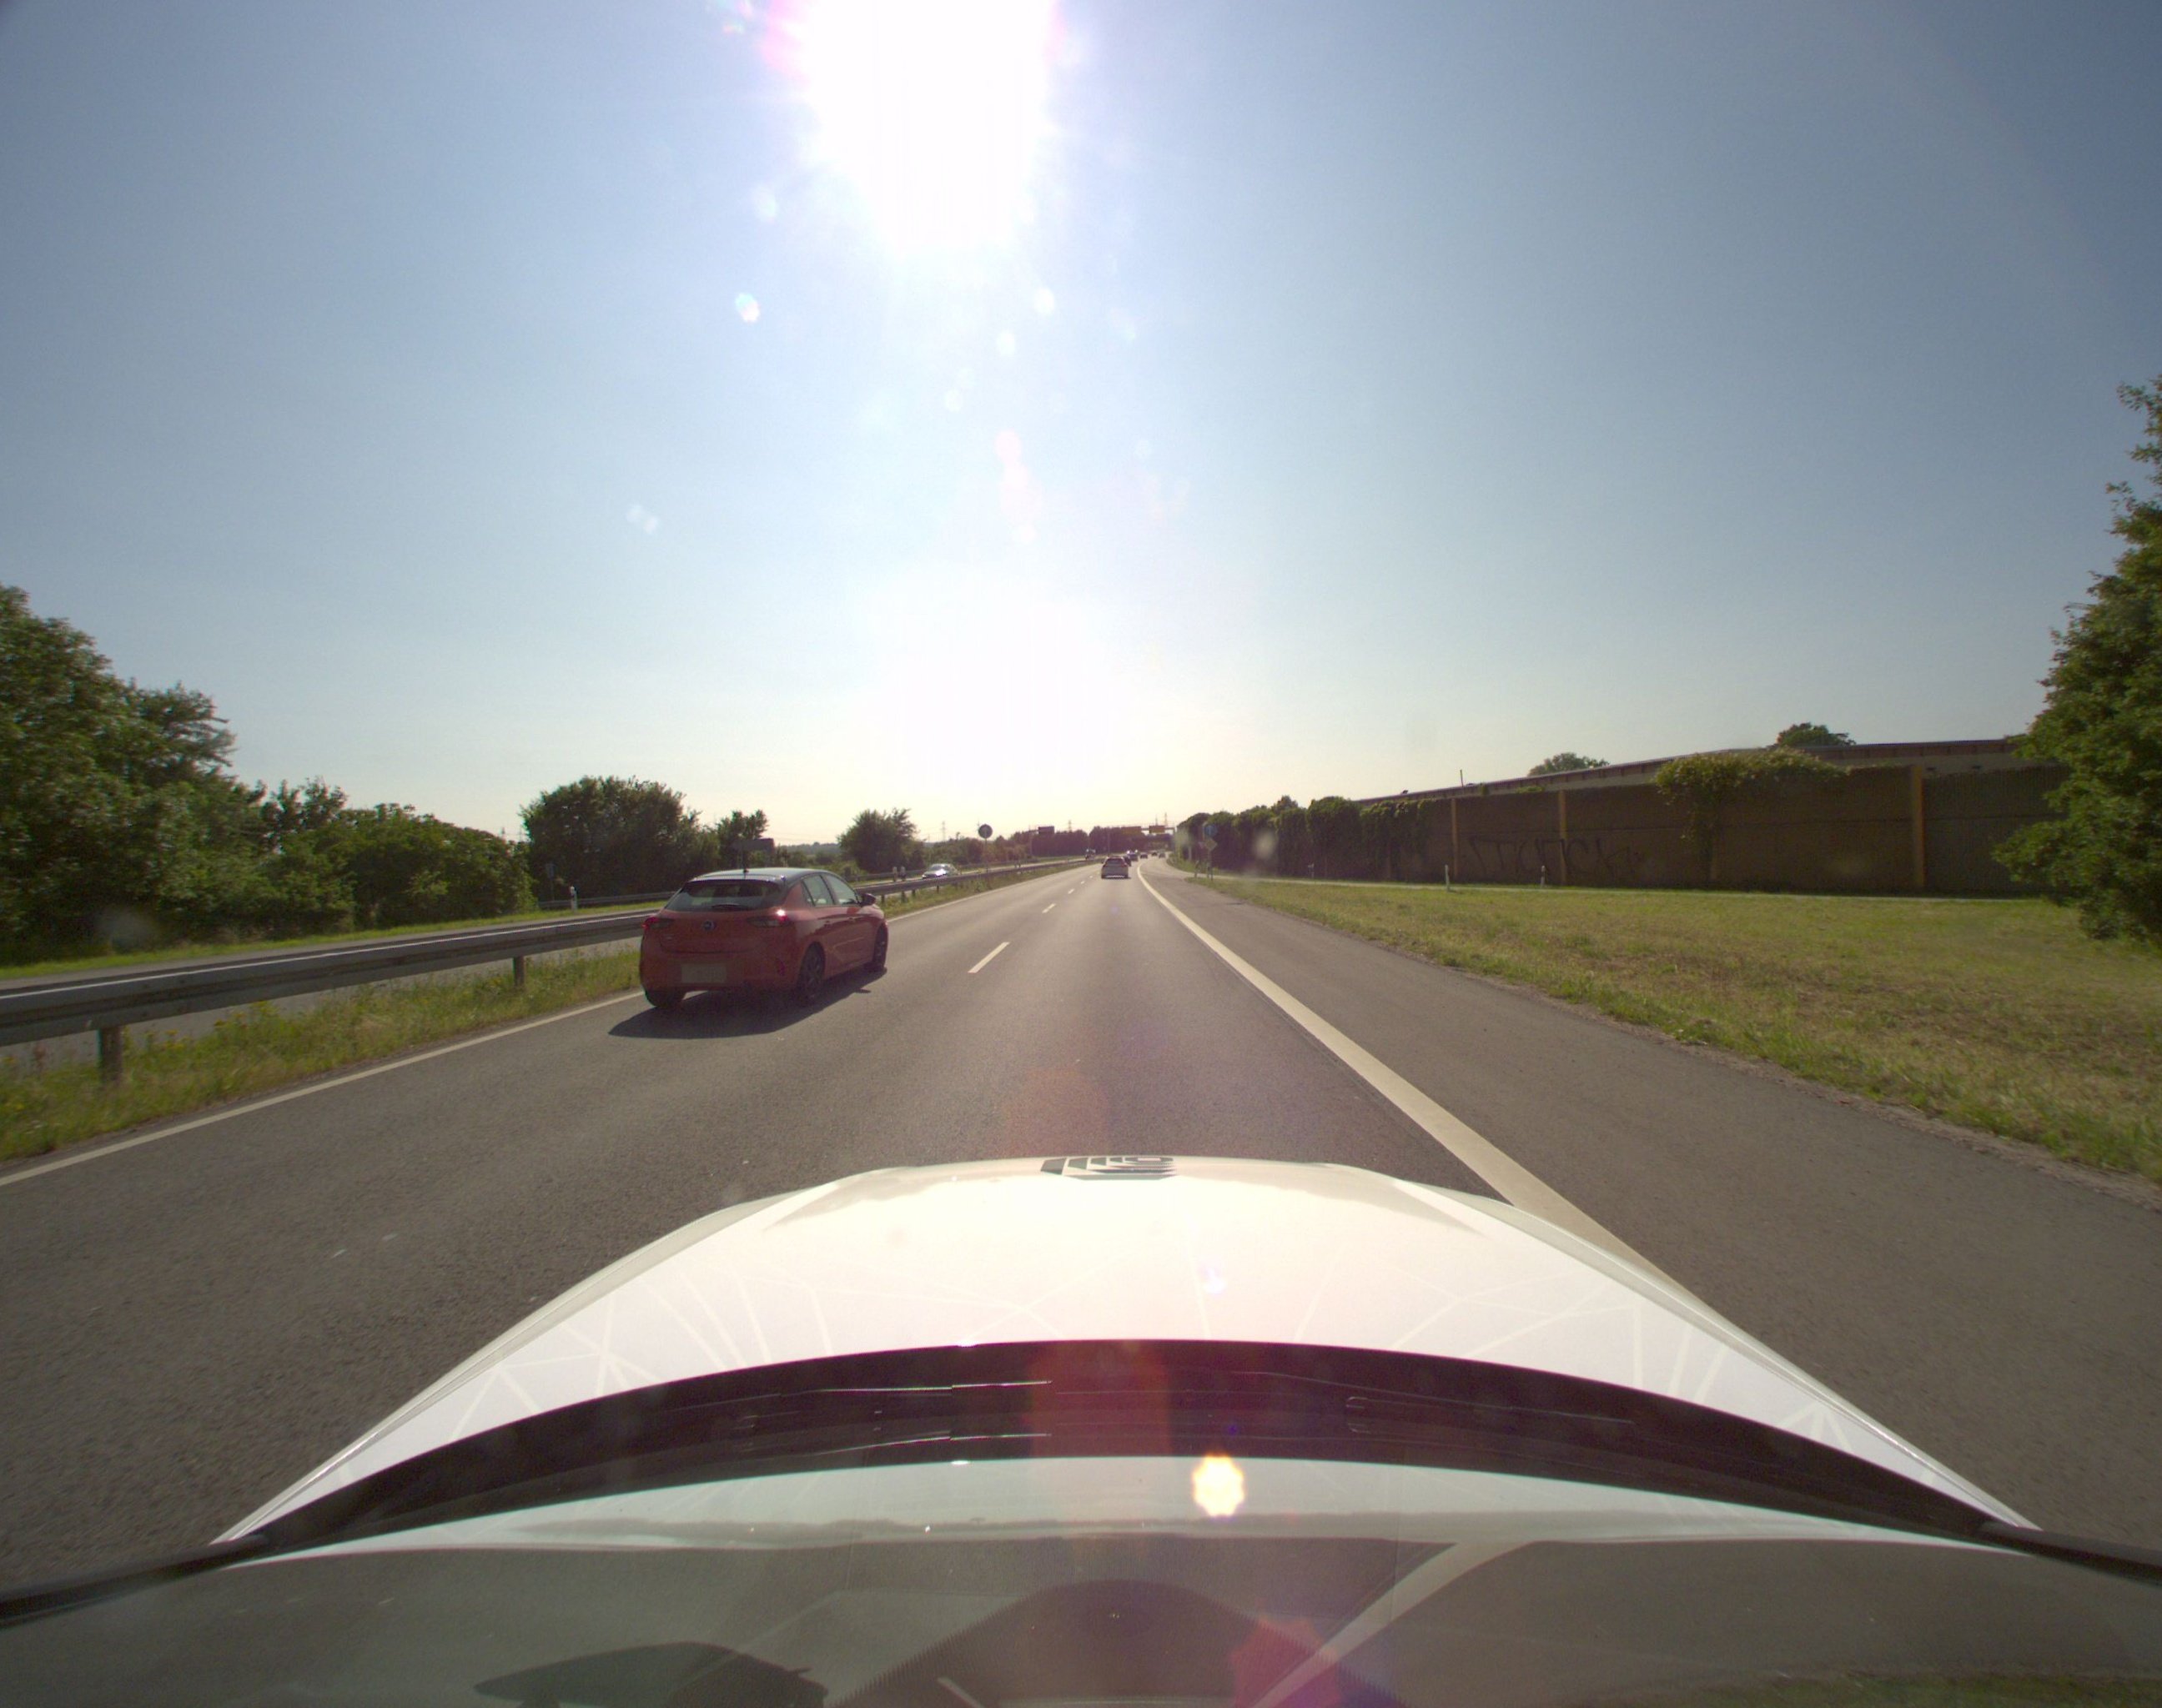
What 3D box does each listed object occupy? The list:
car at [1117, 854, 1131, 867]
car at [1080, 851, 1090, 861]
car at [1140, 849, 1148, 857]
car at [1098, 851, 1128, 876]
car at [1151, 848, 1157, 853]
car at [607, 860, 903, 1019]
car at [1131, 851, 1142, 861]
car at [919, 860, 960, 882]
[{"bbox_3d":[5.574,0.855,104.686,1.785,1.543,3.675,-1,0,4],"label":"car"},{"bbox_3d":[1.059,0.440,210.253,2.130,2.541,5.813,-1,0,3],"label":"car"},{"bbox_3d":[15.485,-0.226,200.958,1.833,1.802,4.005,-1,0,4],"label":"car"},{"bbox_3d":[2.192,0.660,56.399,1.951,1.601,4.108,0,1,1],"label":"car"},{"bbox_3d":[22.178,-1.078,247.967,1.831,1.698,4.008,-1,0,7],"label":"car"},{"bbox_3d":[-3.570,0.828,9.914,1.703,1.437,4.413,-2,-1,1],"label":"car"},{"bbox_3d":[10.360,0.365,151.855,1.759,1.736,3.639,-1,0,7],"label":"car"},{"bbox_3d":[-9.546,1.101,55.165,1.793,1.420,4.678,0,-1,2],"label":"car"}]
